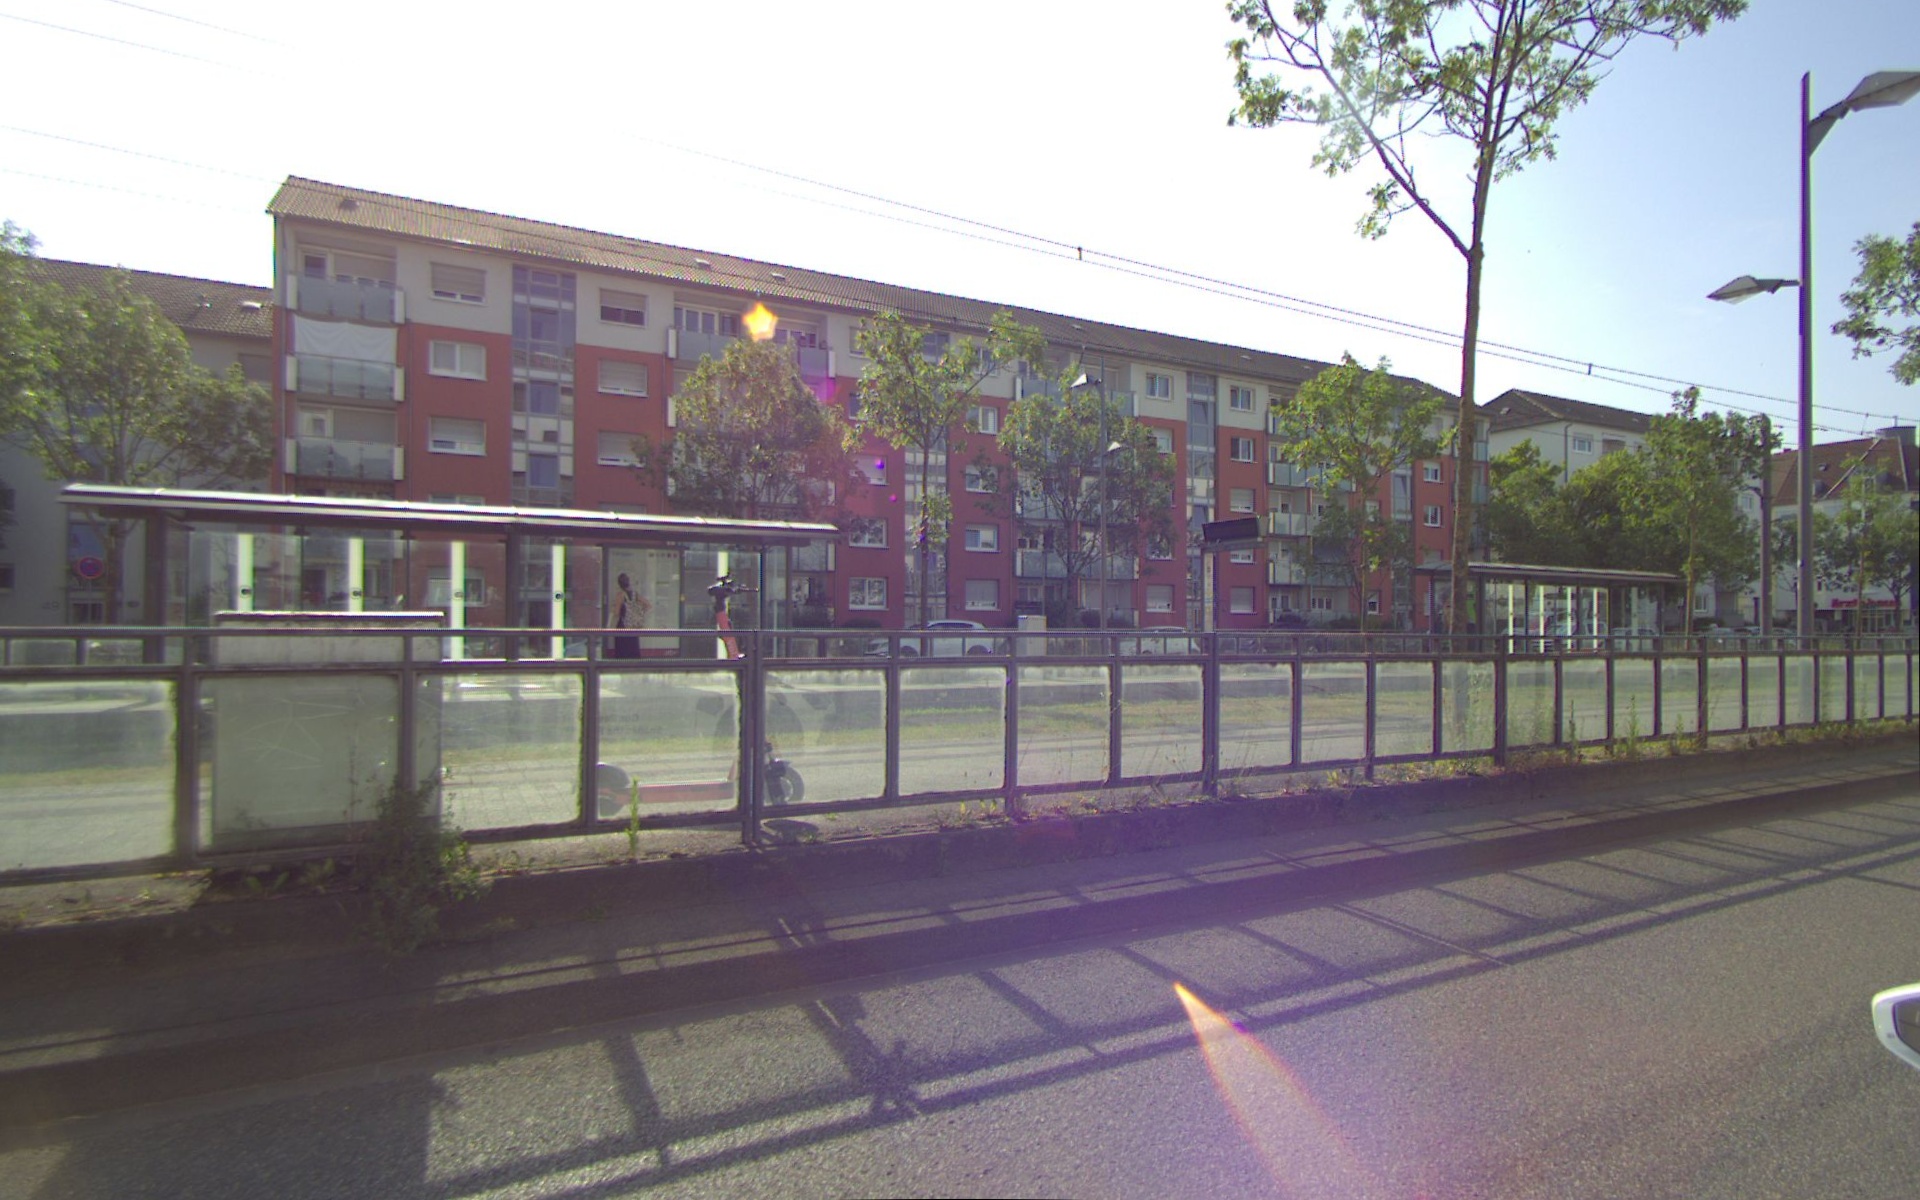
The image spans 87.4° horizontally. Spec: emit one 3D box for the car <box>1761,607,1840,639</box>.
[{"bbox_3d":[57.209,1.595,68.360,5.247,2.058,2.355,1,0,-29],"label":"car"}]

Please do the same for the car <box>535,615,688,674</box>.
[{"bbox_3d":[-9.698,1.204,28.011,3.780,1.490,1.825,1,0,-29],"label":"car"}]

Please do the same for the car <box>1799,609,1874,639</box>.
[{"bbox_3d":[62.218,1.690,71.293,5.247,2.058,2.355,1,0,-29],"label":"car"}]

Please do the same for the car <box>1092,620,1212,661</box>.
[{"bbox_3d":[7.123,1.480,37.230,4.020,1.378,1.972,1,0,-29],"label":"car"}]

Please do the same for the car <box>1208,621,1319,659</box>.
[{"bbox_3d":[12.007,1.574,39.718,4.020,1.378,1.972,1,0,-29],"label":"car"}]

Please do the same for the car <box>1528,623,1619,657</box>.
[{"bbox_3d":[30.045,1.923,49.171,4.229,1.533,1.972,1,0,-29],"label":"car"}]

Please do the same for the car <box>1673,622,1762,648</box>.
[{"bbox_3d":[39.982,1.830,53.137,1.796,1.261,4.001,0,-1,3],"label":"car"}]

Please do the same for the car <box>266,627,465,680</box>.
[{"bbox_3d":[-14.625,1.282,24.957,4.114,1.163,1.825,1,0,-29],"label":"car"}]

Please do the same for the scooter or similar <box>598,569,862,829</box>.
[{"bbox_3d":[-1.133,0.485,5.086,1.237,1.255,0.427,0,-2,-1],"label":"scooter or similar"}]

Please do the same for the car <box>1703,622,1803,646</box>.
[{"bbox_3d":[43.057,1.820,54.622,1.906,1.261,3.991,0,-1,-12],"label":"car"}]

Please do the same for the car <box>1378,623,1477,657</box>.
[{"bbox_3d":[20.517,1.740,44.053,4.020,1.378,1.972,1,0,-29],"label":"car"}]

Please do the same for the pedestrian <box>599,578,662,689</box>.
[{"bbox_3d":[-5.133,0.521,15.628,0.786,1.675,0.668,1,-1,-33],"label":"pedestrian"}]

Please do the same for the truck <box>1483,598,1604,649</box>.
[{"bbox_3d":[31.489,1.261,54.131,7.153,2.597,2.355,1,0,-29],"label":"truck"}]

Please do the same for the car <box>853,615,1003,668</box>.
[{"bbox_3d":[-1.019,1.323,32.752,4.482,1.577,1.972,1,0,-29],"label":"car"}]

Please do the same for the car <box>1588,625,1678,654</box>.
[{"bbox_3d":[34.792,2.014,51.892,4.627,1.397,1.972,1,0,-29],"label":"car"}]

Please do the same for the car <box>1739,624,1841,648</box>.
[{"bbox_3d":[45.570,1.963,55.258,1.906,1.261,3.991,0,-1,-12],"label":"car"}]
